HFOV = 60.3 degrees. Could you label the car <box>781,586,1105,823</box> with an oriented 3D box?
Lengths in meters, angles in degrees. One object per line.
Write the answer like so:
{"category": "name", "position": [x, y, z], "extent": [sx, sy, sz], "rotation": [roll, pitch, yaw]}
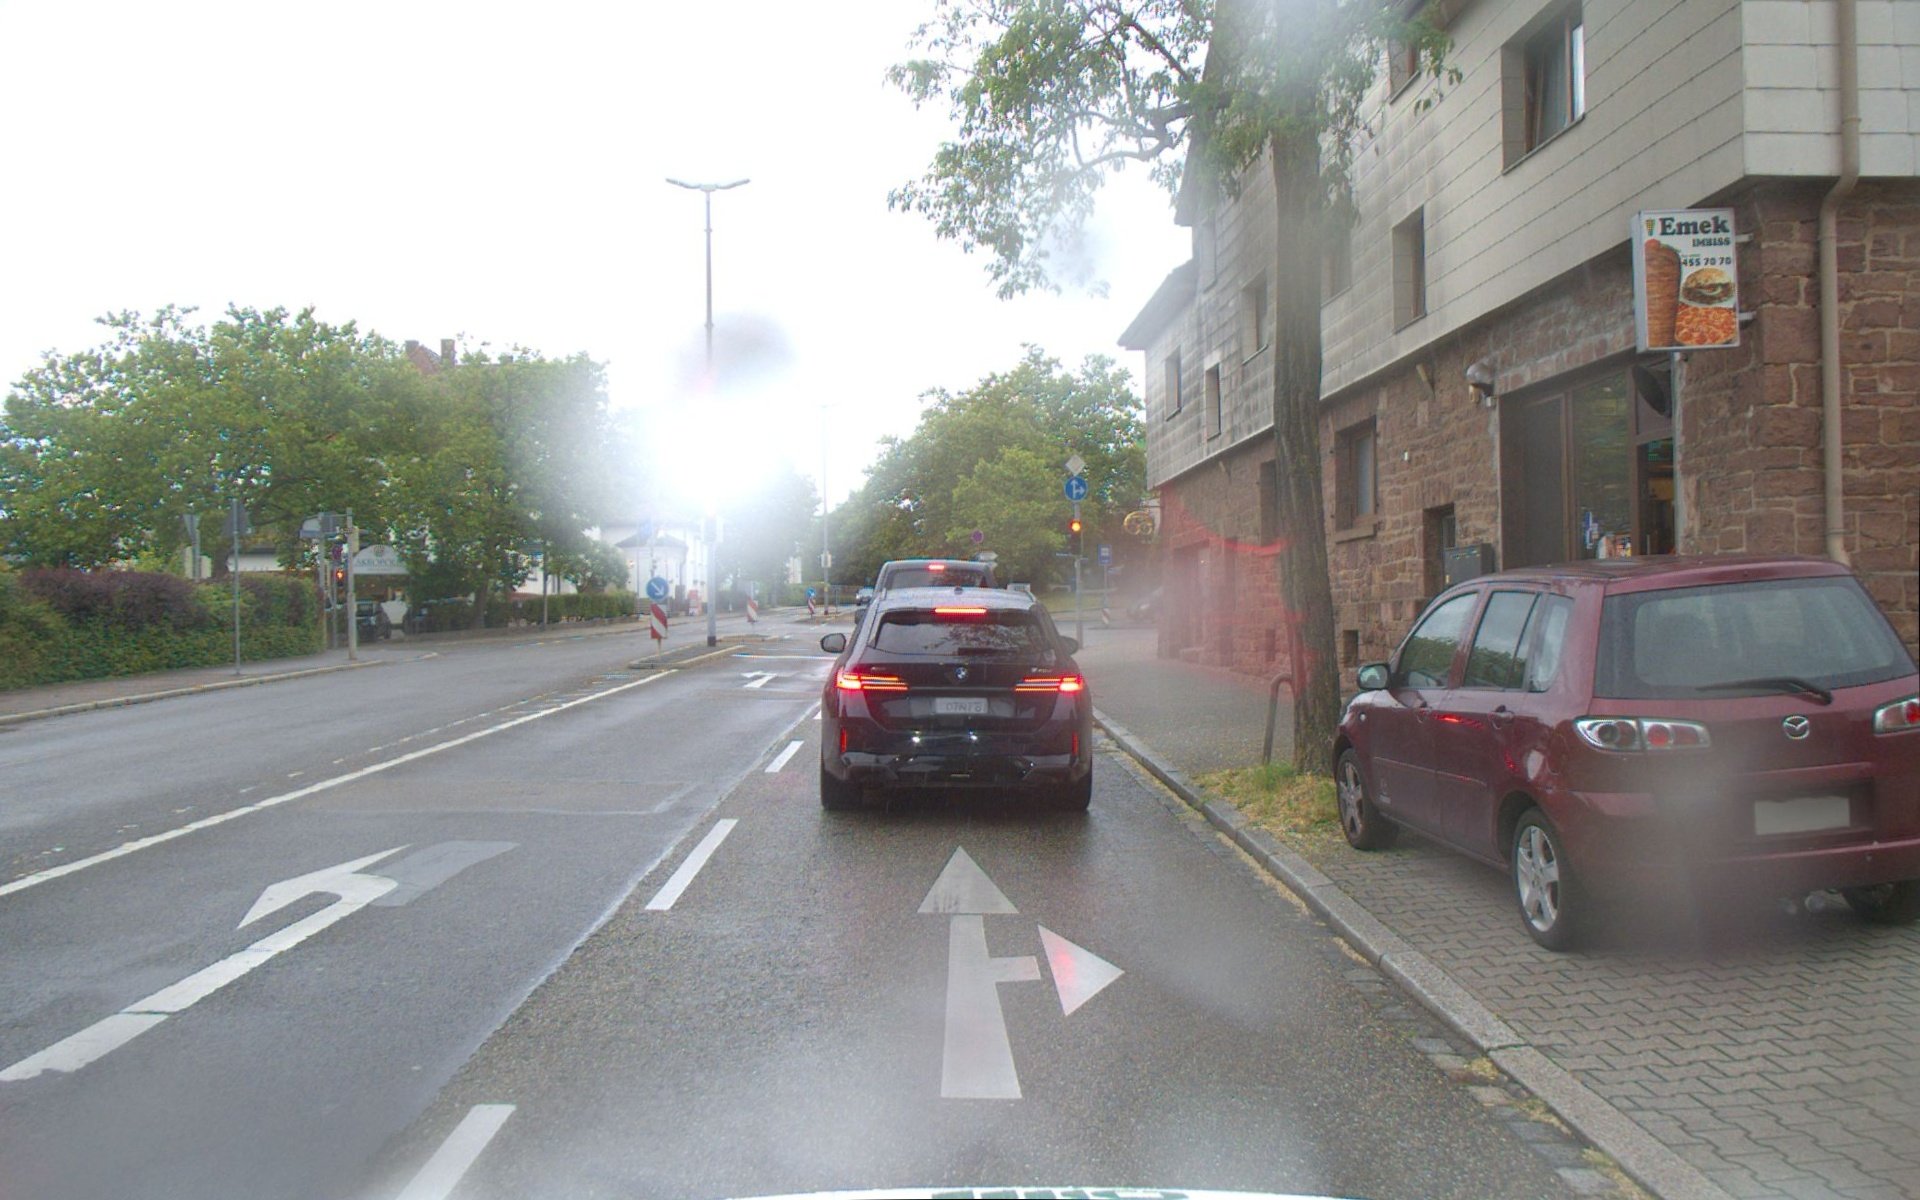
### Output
{"category": "car", "position": [-0.219, 0.655, 12.661], "extent": [2.023, 1.472, 4.480], "rotation": [1, 0, -3]}

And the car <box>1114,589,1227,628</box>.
{"category": "car", "position": [9.048, 0.372, 71.135], "extent": [4.402, 1.614, 2.059], "rotation": [1, 0, -20]}

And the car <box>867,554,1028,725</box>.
{"category": "car", "position": [-0.228, 0.411, 20.021], "extent": [1.748, 1.849, 3.998], "rotation": [0, 0, -3]}

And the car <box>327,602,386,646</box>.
{"category": "car", "position": [-22.753, 0.872, 62.325], "extent": [1.966, 1.579, 3.973], "rotation": [0, 1, -22]}

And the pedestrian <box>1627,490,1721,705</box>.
{"category": "pedestrian", "position": [6.307, -0.024, 14.630], "extent": [0.624, 1.872, 0.483], "rotation": [0, 0, -1]}

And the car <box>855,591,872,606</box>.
{"category": "car", "position": [-8.994, -0.136, 154.685], "extent": [1.435, 1.422, 3.320], "rotation": [0, 0, -1]}

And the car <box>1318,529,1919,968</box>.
{"category": "car", "position": [2.986, 0.501, 7.839], "extent": [1.552, 1.516, 3.625], "rotation": [-3, 1, -3]}
